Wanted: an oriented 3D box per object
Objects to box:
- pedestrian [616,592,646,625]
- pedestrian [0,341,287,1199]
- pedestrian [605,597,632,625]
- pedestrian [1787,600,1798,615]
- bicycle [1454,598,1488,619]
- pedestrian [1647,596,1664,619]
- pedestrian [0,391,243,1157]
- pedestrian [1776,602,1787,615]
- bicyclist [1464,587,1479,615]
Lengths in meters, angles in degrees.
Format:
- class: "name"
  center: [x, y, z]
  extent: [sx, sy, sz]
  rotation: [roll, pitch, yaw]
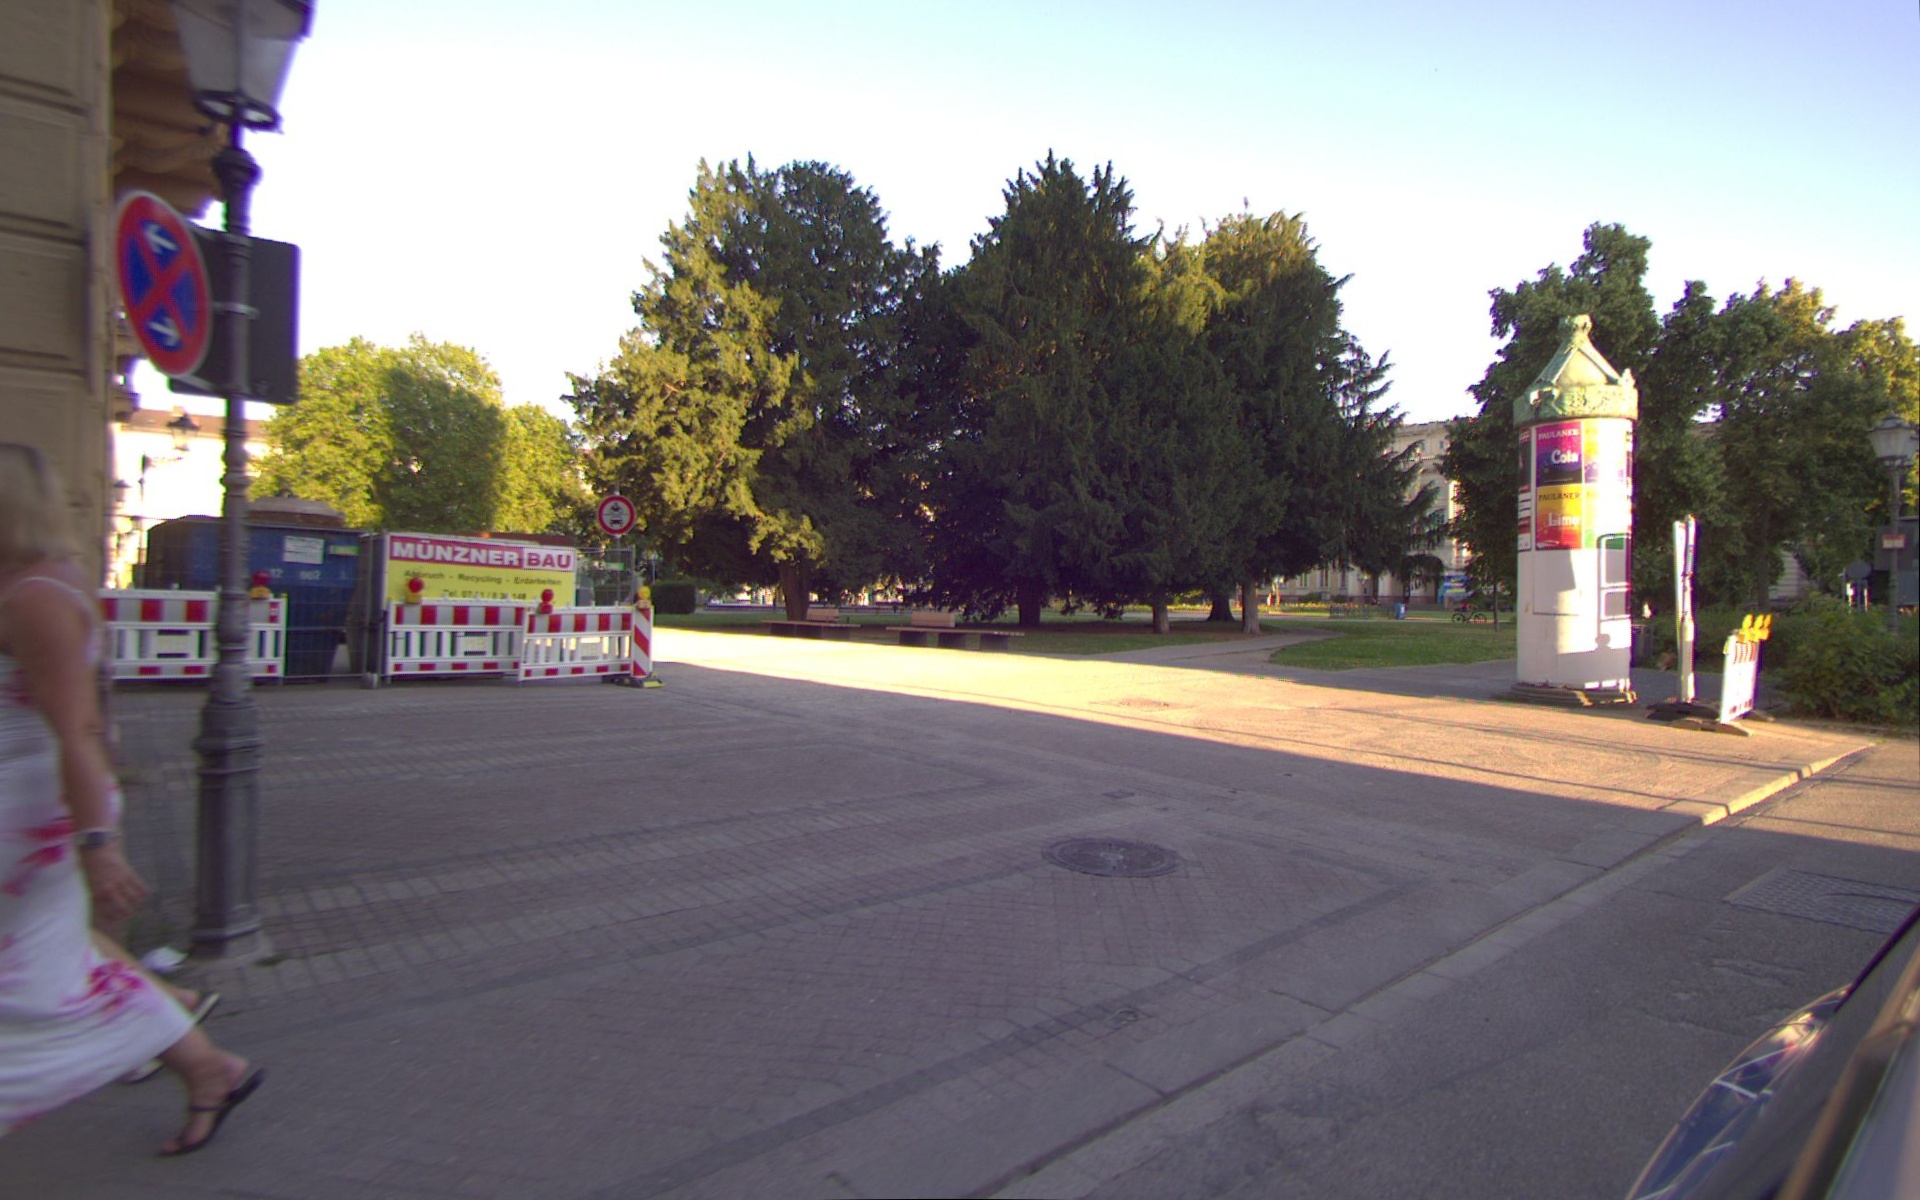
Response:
- class: "pedestrian"
  center: [-13.069, 0.333, 40.172]
  extent: [0.912, 1.267, 0.707]
  rotation: [0, 0, -45]
- class: "pedestrian"
  center: [-1.982, 0.414, 2.229]
  extent: [0.758, 1.826, 0.637]
  rotation: [0, 0, -41]
- class: "pedestrian"
  center: [-13.754, 0.433, 40.752]
  extent: [0.707, 1.106, 0.821]
  rotation: [0, 0, 44]
- class: "pedestrian"
  center: [69.344, 0.634, 84.261]
  extent: [0.594, 1.217, 0.394]
  rotation: [1, 0, 9]
- class: "bicycle"
  center: [30.835, 0.505, 61.070]
  extent: [1.749, 1.191, 0.563]
  rotation: [1, 0, 16]
- class: "pedestrian"
  center: [50.117, 0.515, 72.964]
  extent: [0.744, 1.646, 0.858]
  rotation: [1, 0, -41]
- class: "pedestrian"
  center: [-2.425, 0.411, 2.717]
  extent: [0.758, 1.826, 0.637]
  rotation: [0, 0, -41]
- class: "pedestrian"
  center: [68.483, 0.694, 84.397]
  extent: [0.593, 1.123, 0.395]
  rotation: [1, 0, 5]
- class: "bicyclist"
  center: [30.842, 0.063, 61.067]
  extent: [0.667, 1.653, 0.656]
  rotation: [1, 0, 15]
